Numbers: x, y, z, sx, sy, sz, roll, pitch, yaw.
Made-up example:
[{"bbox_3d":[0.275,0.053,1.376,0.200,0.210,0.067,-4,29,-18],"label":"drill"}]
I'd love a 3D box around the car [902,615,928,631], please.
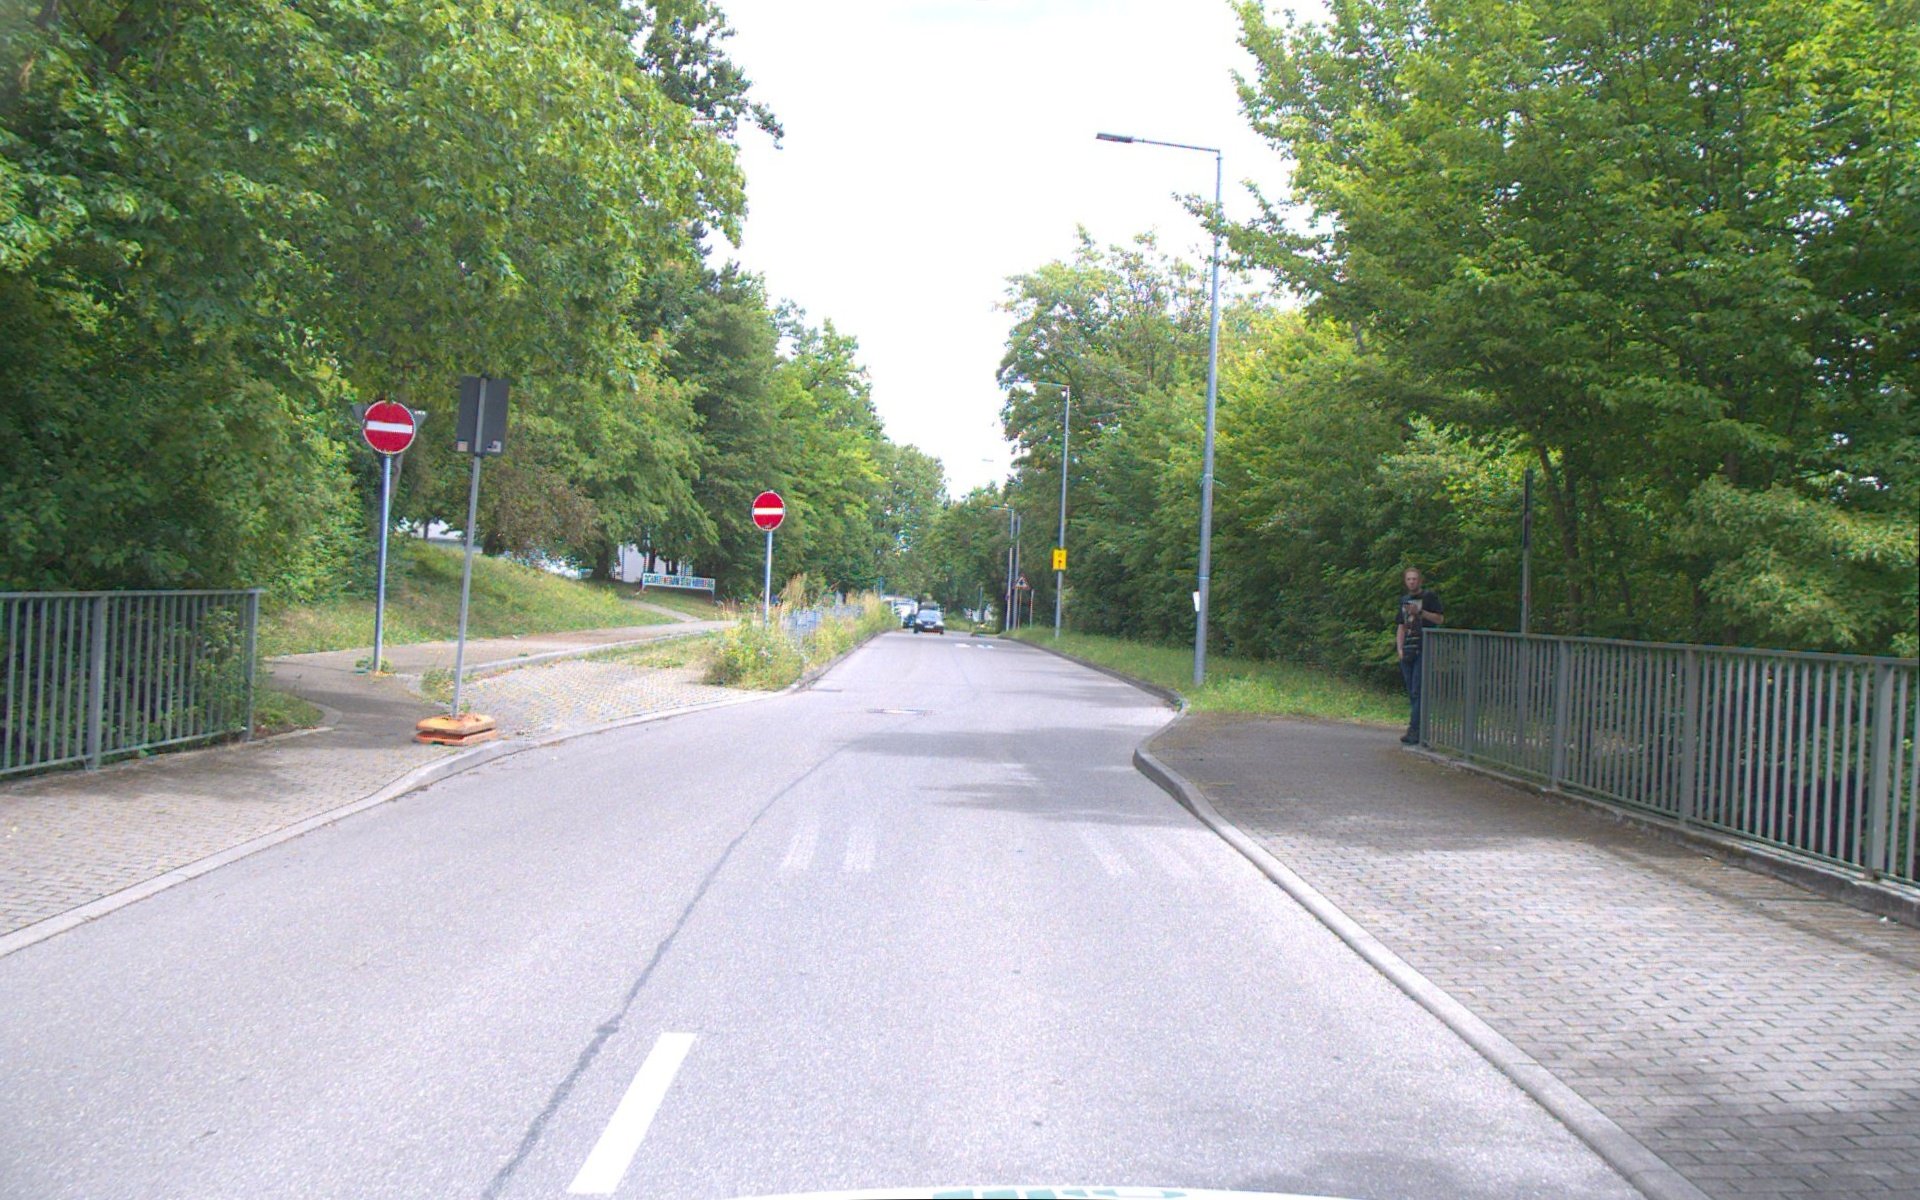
[{"bbox_3d":[-4.442,2.277,163.327,1.937,1.407,4.002,4,-1,6],"label":"car"}]

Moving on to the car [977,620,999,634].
[{"bbox_3d":[3.431,3.313,200.897,1.820,1.518,4.002,0,-3,13],"label":"car"}]

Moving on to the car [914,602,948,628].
[{"bbox_3d":[-1.580,0.817,91.683,1.658,1.372,4.095,2,0,1],"label":"car"}]

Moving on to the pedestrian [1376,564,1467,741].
[{"bbox_3d":[4.853,0.542,17.391,0.583,1.814,0.673,2,0,-38],"label":"pedestrian"}]

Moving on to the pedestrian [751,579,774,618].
[{"bbox_3d":[-10.997,-0.078,92.011,0.863,2.049,0.861,-3,-5,44],"label":"pedestrian"}]
